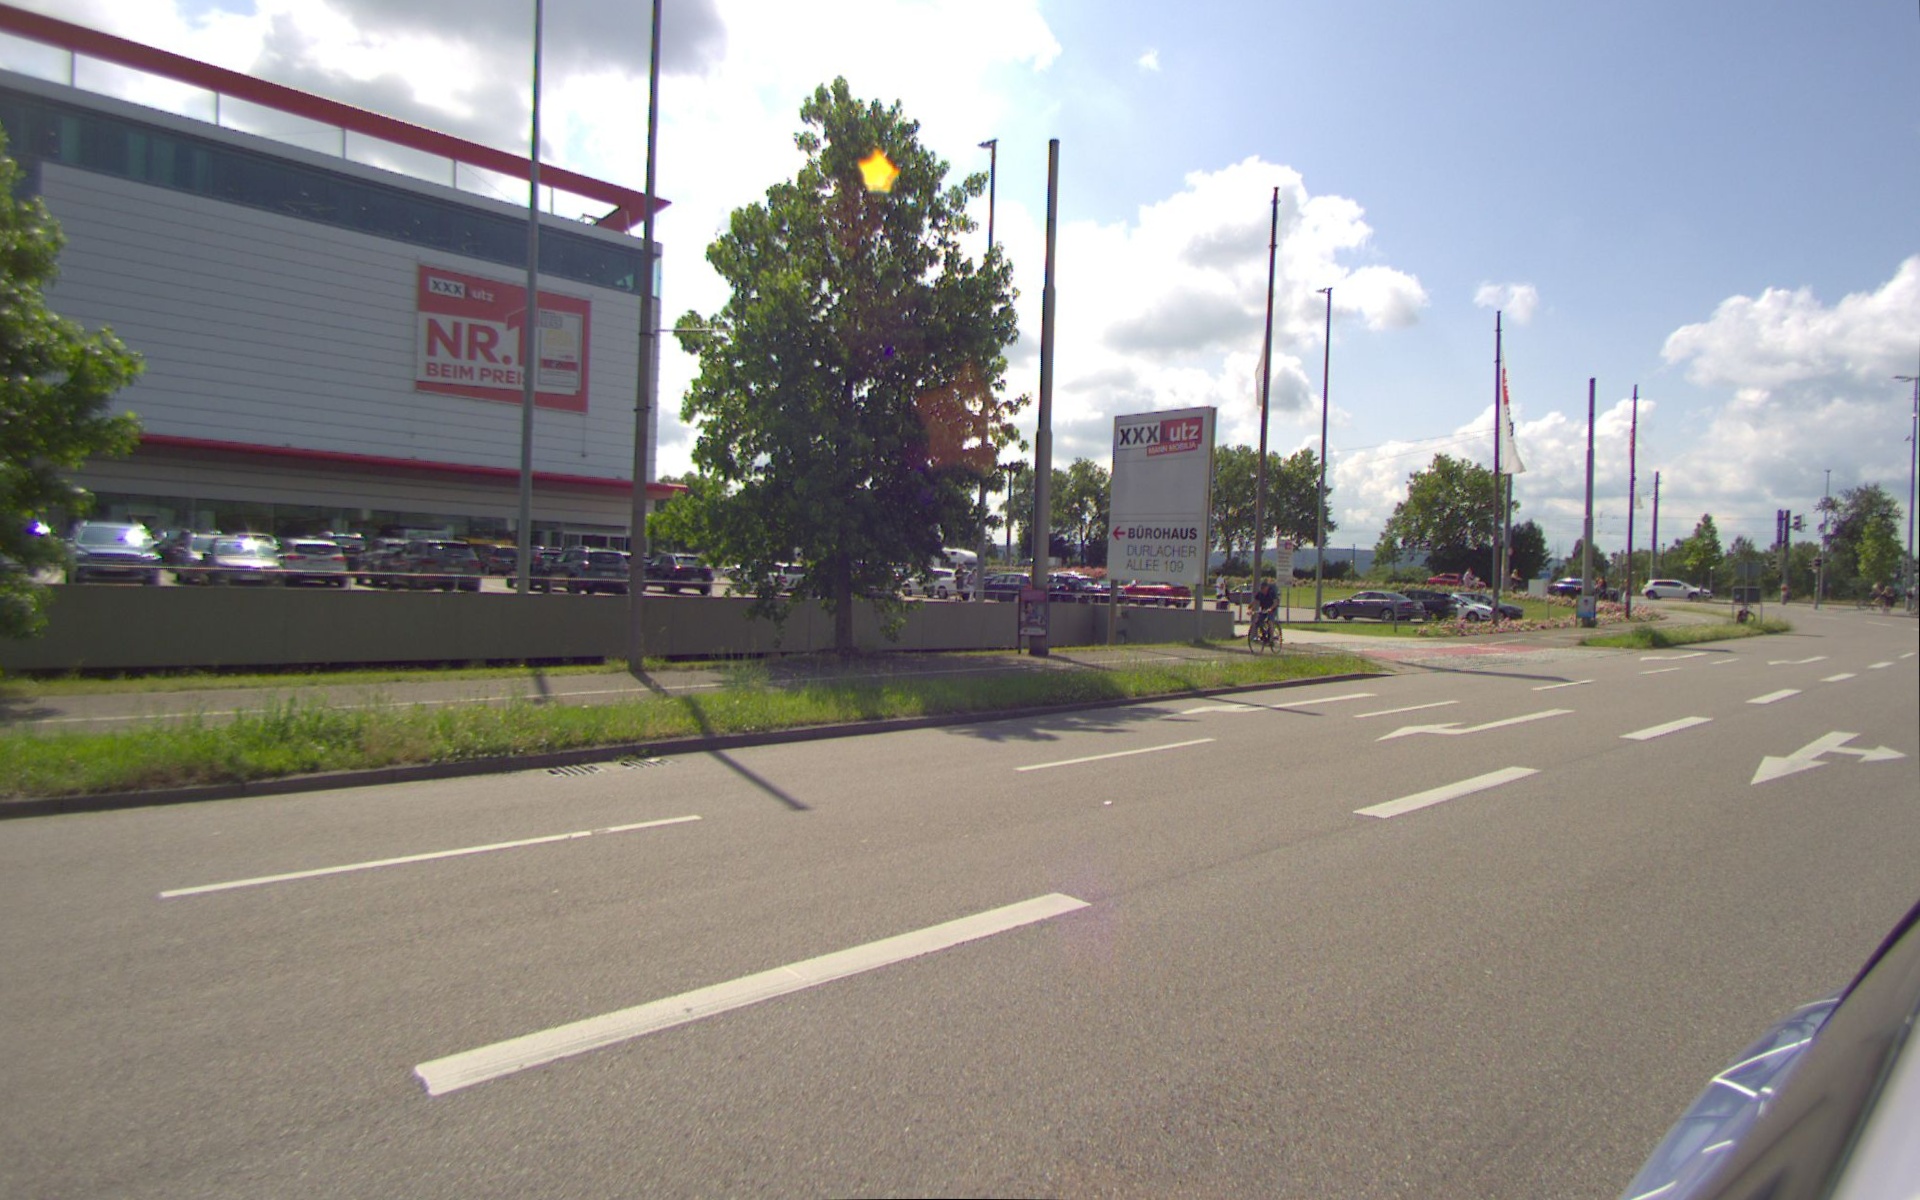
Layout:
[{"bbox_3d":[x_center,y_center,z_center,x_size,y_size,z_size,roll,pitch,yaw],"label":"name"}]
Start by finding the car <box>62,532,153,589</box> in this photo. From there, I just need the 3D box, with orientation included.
[{"bbox_3d":[-21.818,-1.042,25.912,1.658,1.341,4.193,0,3,-40],"label":"car"}]

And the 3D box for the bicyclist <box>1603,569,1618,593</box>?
[{"bbox_3d":[42.958,-1.229,66.835,0.695,1.555,0.611,1,0,44],"label":"bicyclist"}]

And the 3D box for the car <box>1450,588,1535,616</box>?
[{"bbox_3d":[30.586,0.090,58.190,1.686,1.435,3.993,-1,2,-42],"label":"car"}]

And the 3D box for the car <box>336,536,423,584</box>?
[{"bbox_3d":[-19.721,-1.322,34.298,1.730,1.482,4.246,1,0,-42],"label":"car"}]

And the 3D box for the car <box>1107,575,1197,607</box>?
[{"bbox_3d":[9.867,-0.486,52.268,1.813,1.379,4.371,2,2,-39],"label":"car"}]

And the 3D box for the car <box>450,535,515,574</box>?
[{"bbox_3d":[-23.553,-2.237,49.829,1.964,1.771,3.997,1,2,-39],"label":"car"}]

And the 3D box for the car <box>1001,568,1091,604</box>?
[{"bbox_3d":[4.004,-0.677,47.813,1.597,1.460,4.371,2,2,-39],"label":"car"}]

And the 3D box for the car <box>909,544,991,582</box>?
[{"bbox_3d":[-0.947,-3.242,88.957,3.065,3.193,7.902,-1,2,-38],"label":"car"}]

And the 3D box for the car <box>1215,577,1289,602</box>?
[{"bbox_3d":[19.519,-0.698,67.771,2.012,1.426,4.371,1,2,-39],"label":"car"}]

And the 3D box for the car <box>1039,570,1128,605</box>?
[{"bbox_3d":[5.968,-0.635,49.233,1.652,1.527,4.371,0,3,-39],"label":"car"}]

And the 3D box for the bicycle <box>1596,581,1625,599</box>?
[{"bbox_3d":[42.960,-0.681,66.824,1.500,1.180,0.611,1,0,44],"label":"bicycle"}]

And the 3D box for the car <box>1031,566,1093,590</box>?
[{"bbox_3d":[7.171,-1.558,71.167,1.821,1.607,4.231,0,1,-42],"label":"car"}]

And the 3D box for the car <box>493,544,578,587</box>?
[{"bbox_3d":[-15.937,-1.308,37.911,1.698,1.482,3.994,1,2,-42],"label":"car"}]

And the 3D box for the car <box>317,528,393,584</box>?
[{"bbox_3d":[-23.936,-1.688,39.987,1.964,2.039,3.995,1,0,-40],"label":"car"}]

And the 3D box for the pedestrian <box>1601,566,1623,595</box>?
[{"bbox_3d":[40.824,-1.227,63.384,0.744,1.825,0.823,0,1,-14],"label":"pedestrian"}]

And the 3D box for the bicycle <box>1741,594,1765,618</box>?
[{"bbox_3d":[33.332,0.254,42.553,1.517,0.964,0.518,-1,1,-41],"label":"bicycle"}]

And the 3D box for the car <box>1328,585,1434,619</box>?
[{"bbox_3d":[19.996,0.066,48.216,1.823,1.495,4.369,0,1,-39],"label":"car"}]

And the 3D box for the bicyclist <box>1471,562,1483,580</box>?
[{"bbox_3d":[37.508,-2.107,73.479,0.683,1.342,0.585,1,0,37],"label":"bicyclist"}]

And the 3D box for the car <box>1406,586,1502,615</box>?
[{"bbox_3d":[26.985,-0.001,55.361,1.765,1.457,4.368,0,2,-40],"label":"car"}]

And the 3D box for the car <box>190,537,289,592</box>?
[{"bbox_3d":[-19.681,-0.986,27.566,1.734,1.341,4.367,1,2,-42],"label":"car"}]

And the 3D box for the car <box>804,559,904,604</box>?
[{"bbox_3d":[-4.180,-0.740,39.458,1.713,1.550,4.058,-1,4,-44],"label":"car"}]

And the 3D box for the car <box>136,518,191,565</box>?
[{"bbox_3d":[-33.264,-2.384,42.249,1.646,1.805,3.995,1,0,-40],"label":"car"}]

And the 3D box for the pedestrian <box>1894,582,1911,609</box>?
[{"bbox_3d":[55.059,-0.278,59.128,0.460,1.543,0.586,0,0,-32],"label":"pedestrian"}]

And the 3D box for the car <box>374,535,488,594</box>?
[{"bbox_3d":[-15.853,-1.075,30.243,1.995,1.593,4.367,1,2,-42],"label":"car"}]

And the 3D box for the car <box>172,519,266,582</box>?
[{"bbox_3d":[-22.881,-1.473,31.194,1.965,1.772,3.993,1,0,-42],"label":"car"}]

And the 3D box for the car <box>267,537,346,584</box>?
[{"bbox_3d":[-21.037,-1.246,32.523,1.587,1.405,3.772,0,1,-42],"label":"car"}]

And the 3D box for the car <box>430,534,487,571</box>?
[{"bbox_3d":[-29.387,-2.742,59.281,1.966,2.039,3.993,1,0,-42],"label":"car"}]

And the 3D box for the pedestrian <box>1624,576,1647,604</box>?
[{"bbox_3d":[42.854,-0.637,64.204,0.848,1.787,0.864,0,0,-14],"label":"pedestrian"}]

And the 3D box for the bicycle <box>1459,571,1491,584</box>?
[{"bbox_3d":[37.429,-1.637,73.526,1.976,0.973,0.589,1,0,37],"label":"bicycle"}]

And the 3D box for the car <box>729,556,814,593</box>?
[{"bbox_3d":[-8.235,-1.126,43.996,1.728,1.445,4.299,0,3,-40],"label":"car"}]

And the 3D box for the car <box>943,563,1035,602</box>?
[{"bbox_3d":[1.225,-0.794,44.313,1.666,1.607,4.021,2,0,-42],"label":"car"}]

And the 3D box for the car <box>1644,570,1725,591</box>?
[{"bbox_3d":[52.783,-1.432,73.770,1.980,1.430,4.488,0,2,-43],"label":"car"}]

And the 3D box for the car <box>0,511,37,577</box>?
[{"bbox_3d":[-26.952,-1.546,28.180,1.762,1.749,3.993,1,1,-42],"label":"car"}]

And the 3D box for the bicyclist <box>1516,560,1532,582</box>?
[{"bbox_3d":[39.296,-1.992,70.492,0.639,1.494,0.742,1,0,-40],"label":"bicyclist"}]

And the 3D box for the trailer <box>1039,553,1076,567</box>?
[{"bbox_3d":[13.510,-5.578,140.618,5.161,1.854,1.798,1,1,41],"label":"trailer"}]

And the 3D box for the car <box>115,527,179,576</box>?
[{"bbox_3d":[-29.165,-1.706,36.273,1.548,1.616,3.676,1,0,-42],"label":"car"}]

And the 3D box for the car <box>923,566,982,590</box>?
[{"bbox_3d":[-0.501,-1.410,64.774,1.639,1.470,3.995,1,0,-40],"label":"car"}]

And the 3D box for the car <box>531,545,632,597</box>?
[{"bbox_3d":[-12.709,-1.003,33.824,1.734,1.571,4.190,1,2,-42],"label":"car"}]

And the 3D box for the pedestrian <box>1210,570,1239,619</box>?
[{"bbox_3d":[9.872,-0.200,37.789,0.856,1.805,0.783,1,0,3],"label":"pedestrian"}]

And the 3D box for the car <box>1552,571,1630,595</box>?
[{"bbox_3d":[43.777,-1.183,70.301,1.877,1.501,4.211,0,3,-26],"label":"car"}]

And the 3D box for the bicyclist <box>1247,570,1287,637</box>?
[{"bbox_3d":[6.699,0.072,22.063,0.614,1.430,0.705,2,1,37],"label":"bicyclist"}]

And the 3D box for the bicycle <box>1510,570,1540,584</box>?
[{"bbox_3d":[39.329,-1.586,70.443,0.654,0.973,1.694,1,0,-40],"label":"bicycle"}]

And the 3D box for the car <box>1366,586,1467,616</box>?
[{"bbox_3d":[23.337,0.032,51.878,1.824,1.434,4.368,0,1,-40],"label":"car"}]

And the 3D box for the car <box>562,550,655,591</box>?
[{"bbox_3d":[-13.618,-1.124,39.046,1.859,1.518,4.365,-1,1,-42],"label":"car"}]

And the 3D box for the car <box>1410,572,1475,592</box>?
[{"bbox_3d":[38.023,-1.453,79.804,1.721,1.377,4.239,-1,4,-45],"label":"car"}]

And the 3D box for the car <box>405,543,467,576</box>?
[{"bbox_3d":[-25.156,-1.920,48.509,1.871,1.482,3.996,1,0,-39],"label":"car"}]

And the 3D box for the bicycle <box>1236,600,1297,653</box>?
[{"bbox_3d":[6.702,0.556,22.081,0.622,1.081,1.941,3,2,37],"label":"bicycle"}]

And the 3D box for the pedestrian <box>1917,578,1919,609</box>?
[{"bbox_3d":[55.145,-0.362,57.651,0.686,1.749,0.690,-1,2,-30],"label":"pedestrian"}]

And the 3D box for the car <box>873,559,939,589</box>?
[{"bbox_3d":[-3.246,-1.556,59.836,1.964,1.760,3.997,-1,2,-38],"label":"car"}]

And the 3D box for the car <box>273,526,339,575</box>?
[{"bbox_3d":[-29.232,-2.139,45.186,1.965,2.039,3.994,1,0,-41],"label":"car"}]

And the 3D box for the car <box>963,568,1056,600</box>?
[{"bbox_3d":[2.206,-0.727,46.198,1.813,1.379,4.369,0,1,-39],"label":"car"}]

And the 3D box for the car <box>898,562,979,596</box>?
[{"bbox_3d":[-1.091,-1.058,50.252,1.793,1.526,4.159,0,3,-40],"label":"car"}]

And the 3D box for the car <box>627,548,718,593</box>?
[{"bbox_3d":[-11.606,-1.214,40.691,1.783,1.640,4.367,2,2,-42],"label":"car"}]

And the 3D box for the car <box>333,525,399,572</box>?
[{"bbox_3d":[-27.464,-2.333,46.737,1.965,2.039,3.994,1,0,-41],"label":"car"}]
